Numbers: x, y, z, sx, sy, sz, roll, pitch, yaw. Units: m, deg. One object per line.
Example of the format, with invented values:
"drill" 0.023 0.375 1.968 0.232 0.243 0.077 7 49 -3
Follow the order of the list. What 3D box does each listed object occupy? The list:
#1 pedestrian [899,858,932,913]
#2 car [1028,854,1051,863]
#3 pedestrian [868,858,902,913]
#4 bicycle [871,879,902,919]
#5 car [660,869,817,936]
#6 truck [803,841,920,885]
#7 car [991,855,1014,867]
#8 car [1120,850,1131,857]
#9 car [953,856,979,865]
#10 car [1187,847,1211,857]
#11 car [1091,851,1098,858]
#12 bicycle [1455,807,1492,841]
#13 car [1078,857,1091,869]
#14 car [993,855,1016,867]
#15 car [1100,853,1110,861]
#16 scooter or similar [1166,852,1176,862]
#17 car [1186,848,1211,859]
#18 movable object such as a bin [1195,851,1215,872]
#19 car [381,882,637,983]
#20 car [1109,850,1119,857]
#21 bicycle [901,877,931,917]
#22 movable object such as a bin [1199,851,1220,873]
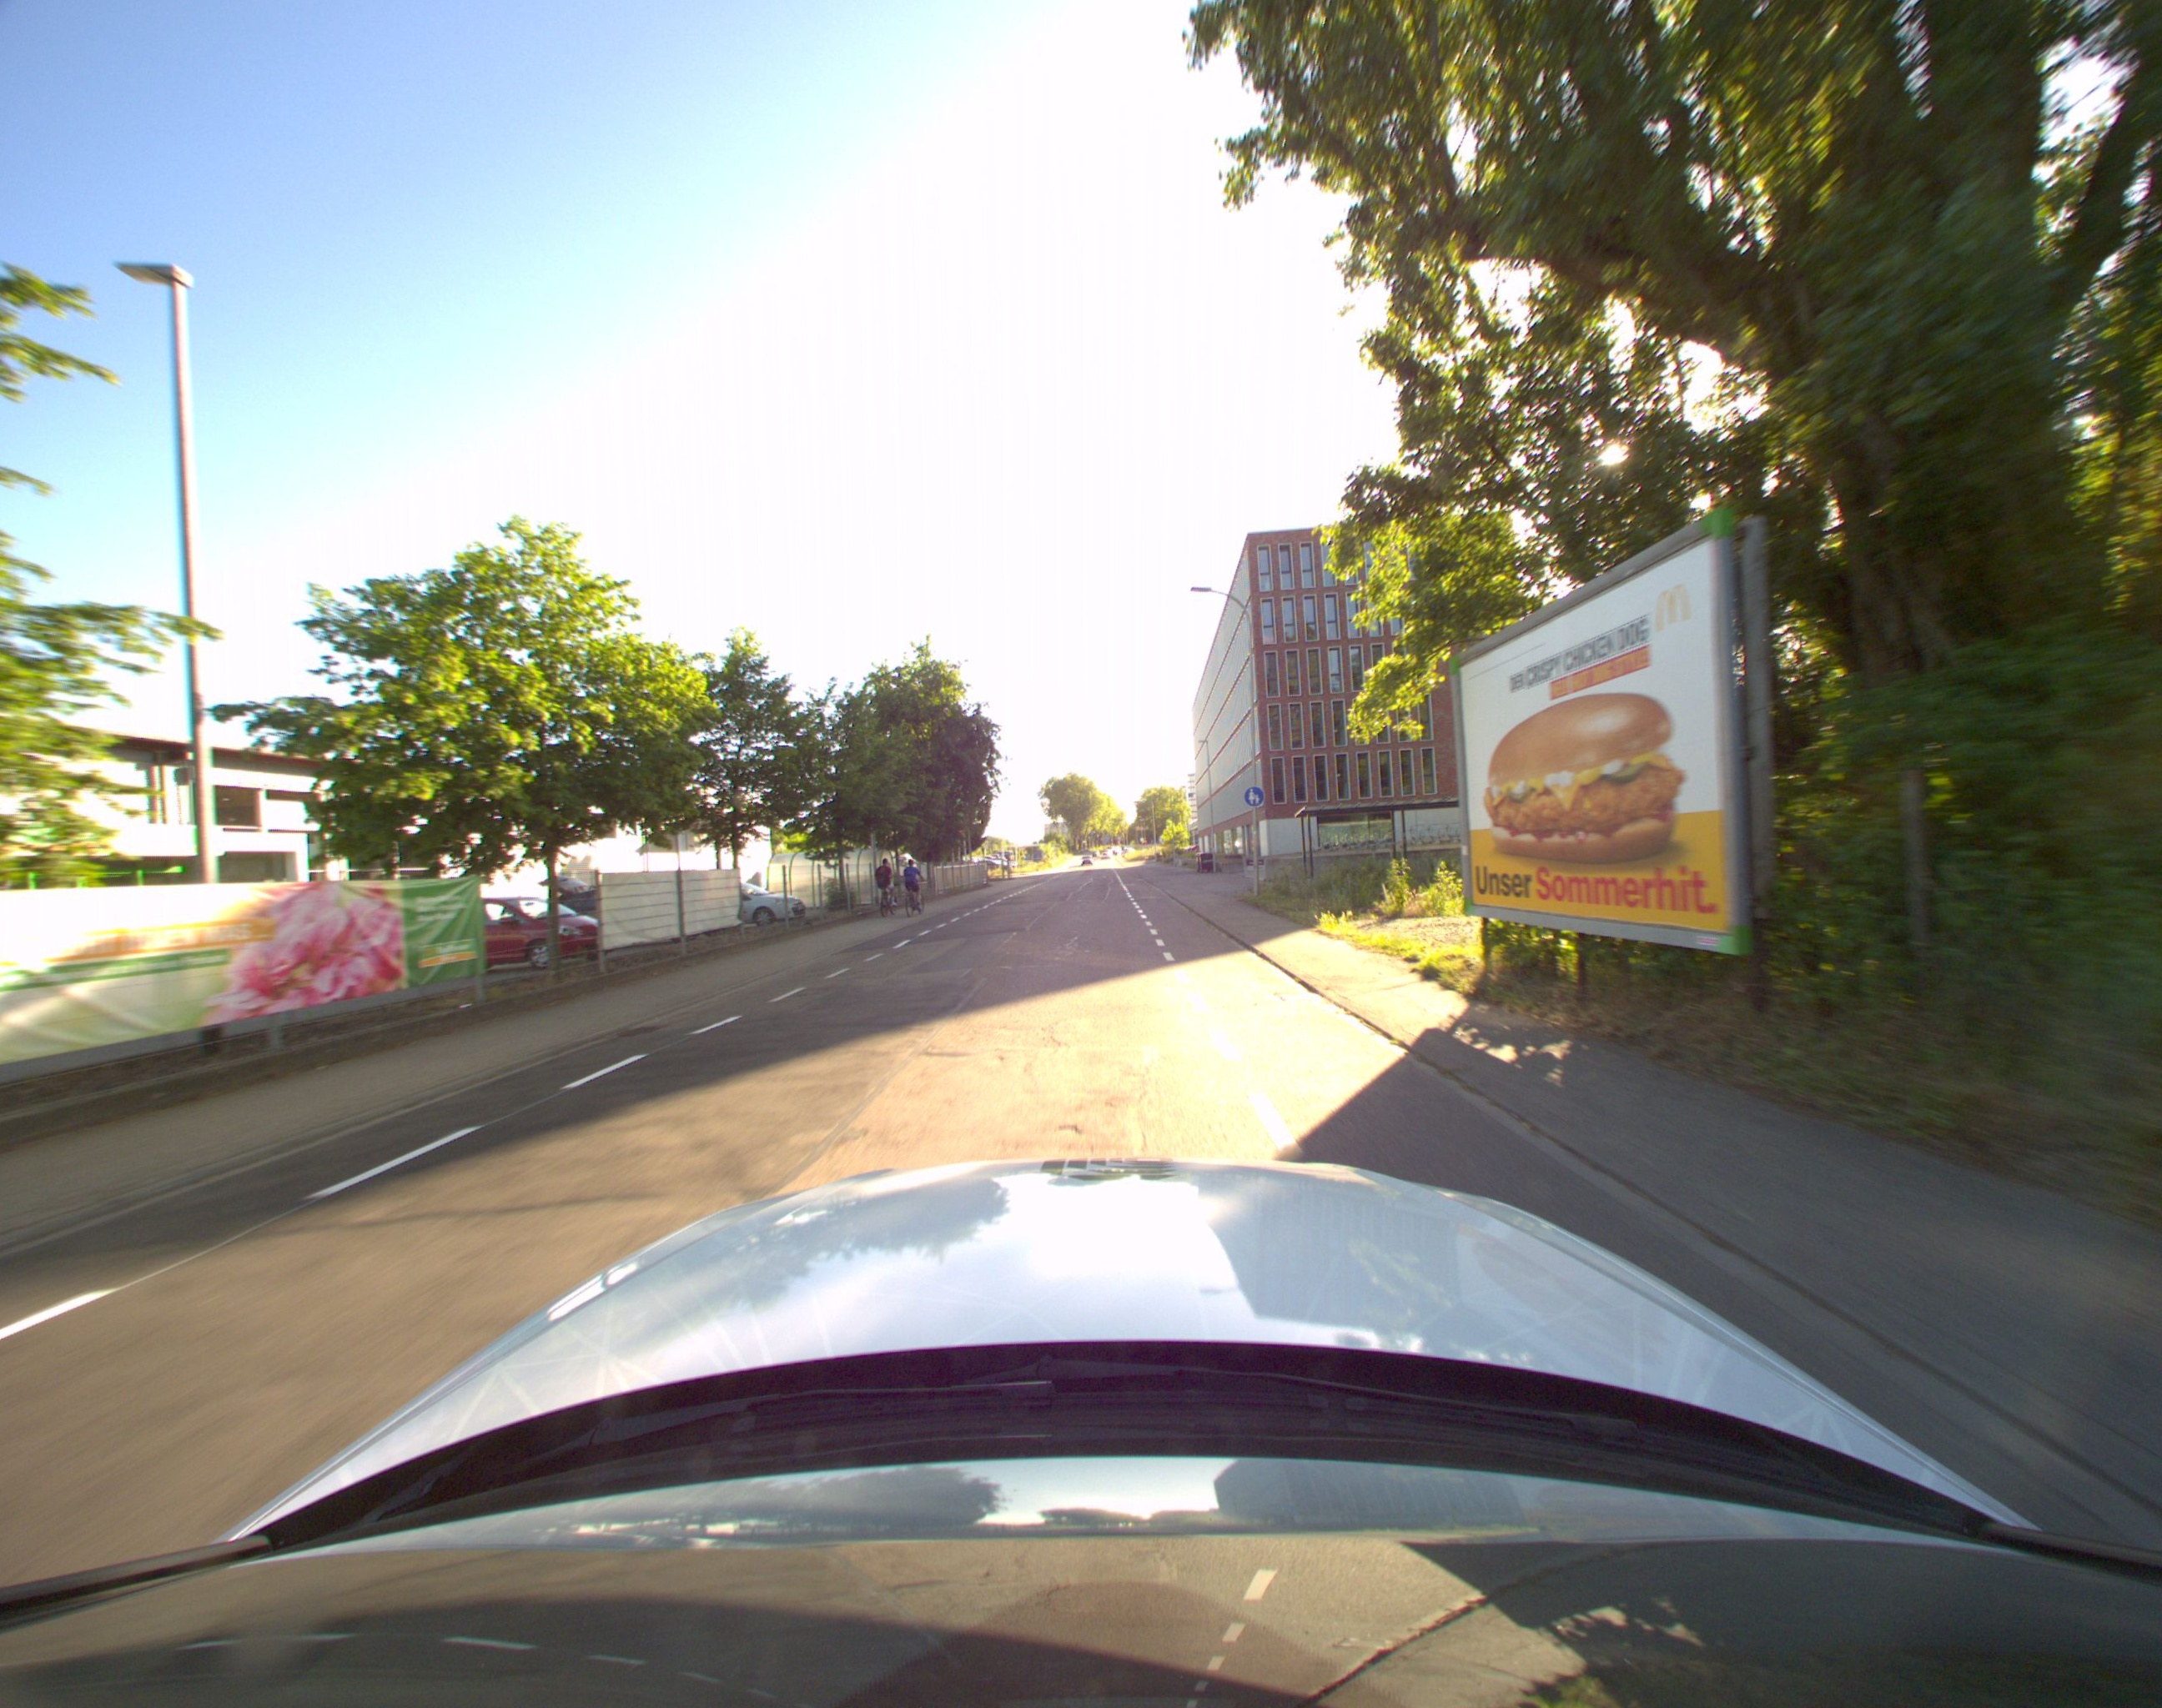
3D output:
"pedestrian" -5.356 1.000 26.347 0.718 1.720 1.058 -3 0 2
"car" -9.065 0.969 178.519 4.829 1.835 2.000 -4 0 0
"pedestrian" -6.354 1.009 26.454 0.718 1.720 1.058 -3 0 2
"bicycle" -6.297 1.439 26.468 0.468 1.148 1.870 -2 0 2
"car" -10.362 1.440 24.851 3.879 1.511 1.785 -6 0 -2
"truck" -20.449 0.855 76.305 10.064 3.614 2.776 -2 -1 0
"car" -18.502 1.672 192.000 4.910 2.459 2.320 -4 0 0
"car" 10.941 -0.084 200.891 2.157 1.684 3.998 -4 0 -1
"car" -20.383 1.085 144.683 4.305 1.393 1.879 -2 1 2
"car" 20.984 -0.396 144.730 4.164 1.580 1.854 -4 0 5
"car" 3.114 0.135 187.902 1.648 1.503 4.002 -4 0 2
"bicycle" 16.786 -1.271 34.847 0.628 1.321 1.991 -2 0 2
"car" 0.544 1.337 124.004 1.734 1.525 4.113 -7 0 1
"car" -18.295 1.721 194.666 5.079 2.459 2.320 -4 0 0
"car" 4.884 0.515 164.088 1.782 1.420 4.004 -2 1 3
"scooter or similar" 12.021 0.462 108.886 1.334 1.245 0.424 -4 0 5
"car" 19.894 -0.081 137.959 4.164 1.580 1.854 -4 0 5
"movable object such as a bin" 8.589 0.525 56.441 1.124 1.336 1.345 -3 0 1
"car" -11.380 1.521 16.404 3.715 1.451 1.805 -6 0 -1
"car" 7.937 -0.116 195.547 2.155 1.684 4.003 -4 0 3
"bicycle" -5.353 1.382 26.491 0.444 1.148 2.202 -2 0 2
"movable object such as a bin" 8.626 0.511 54.818 1.124 1.371 1.345 -3 0 1
